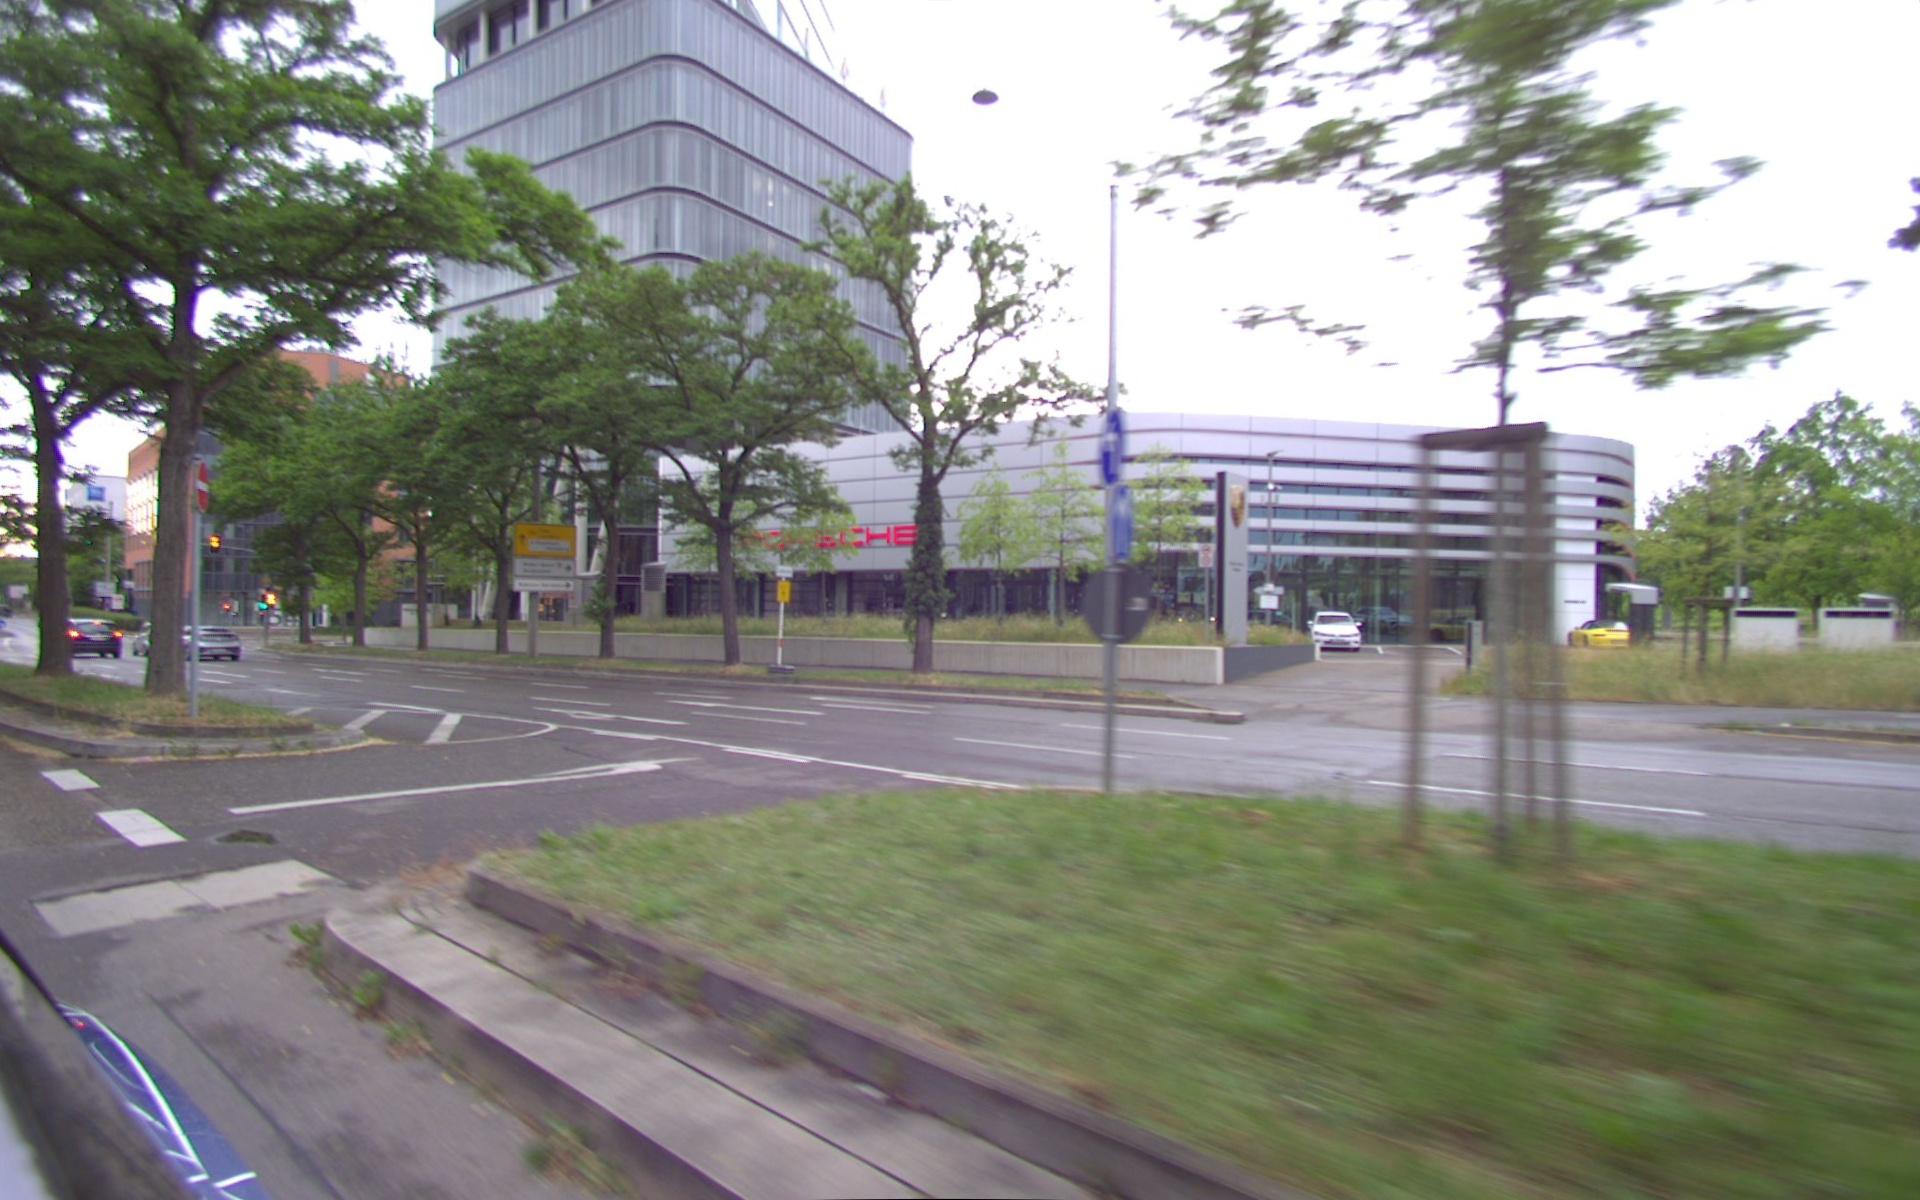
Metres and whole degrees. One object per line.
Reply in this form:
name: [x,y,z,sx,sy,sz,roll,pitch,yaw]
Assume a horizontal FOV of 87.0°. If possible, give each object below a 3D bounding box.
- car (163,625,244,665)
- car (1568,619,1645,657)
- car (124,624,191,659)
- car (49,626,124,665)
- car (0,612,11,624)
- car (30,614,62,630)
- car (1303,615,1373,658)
car: [-31.530,1.848,42.163,3.998,1.464,1.870,-1,1,41]
car: [26.229,1.496,41.208,1.606,1.334,3.978,-1,1,17]
car: [-38.033,1.931,47.928,3.998,1.464,1.760,-1,1,41]
car: [-37.928,1.946,43.914,4.171,1.602,1.822,-1,-2,41]
car: [-118.033,2.250,124.616,1.758,1.464,4.004,-2,1,-44]
car: [-87.951,2.070,97.354,3.998,1.464,1.760,-1,1,41]
car: [14.508,1.377,38.995,1.759,1.423,3.988,-1,1,10]
